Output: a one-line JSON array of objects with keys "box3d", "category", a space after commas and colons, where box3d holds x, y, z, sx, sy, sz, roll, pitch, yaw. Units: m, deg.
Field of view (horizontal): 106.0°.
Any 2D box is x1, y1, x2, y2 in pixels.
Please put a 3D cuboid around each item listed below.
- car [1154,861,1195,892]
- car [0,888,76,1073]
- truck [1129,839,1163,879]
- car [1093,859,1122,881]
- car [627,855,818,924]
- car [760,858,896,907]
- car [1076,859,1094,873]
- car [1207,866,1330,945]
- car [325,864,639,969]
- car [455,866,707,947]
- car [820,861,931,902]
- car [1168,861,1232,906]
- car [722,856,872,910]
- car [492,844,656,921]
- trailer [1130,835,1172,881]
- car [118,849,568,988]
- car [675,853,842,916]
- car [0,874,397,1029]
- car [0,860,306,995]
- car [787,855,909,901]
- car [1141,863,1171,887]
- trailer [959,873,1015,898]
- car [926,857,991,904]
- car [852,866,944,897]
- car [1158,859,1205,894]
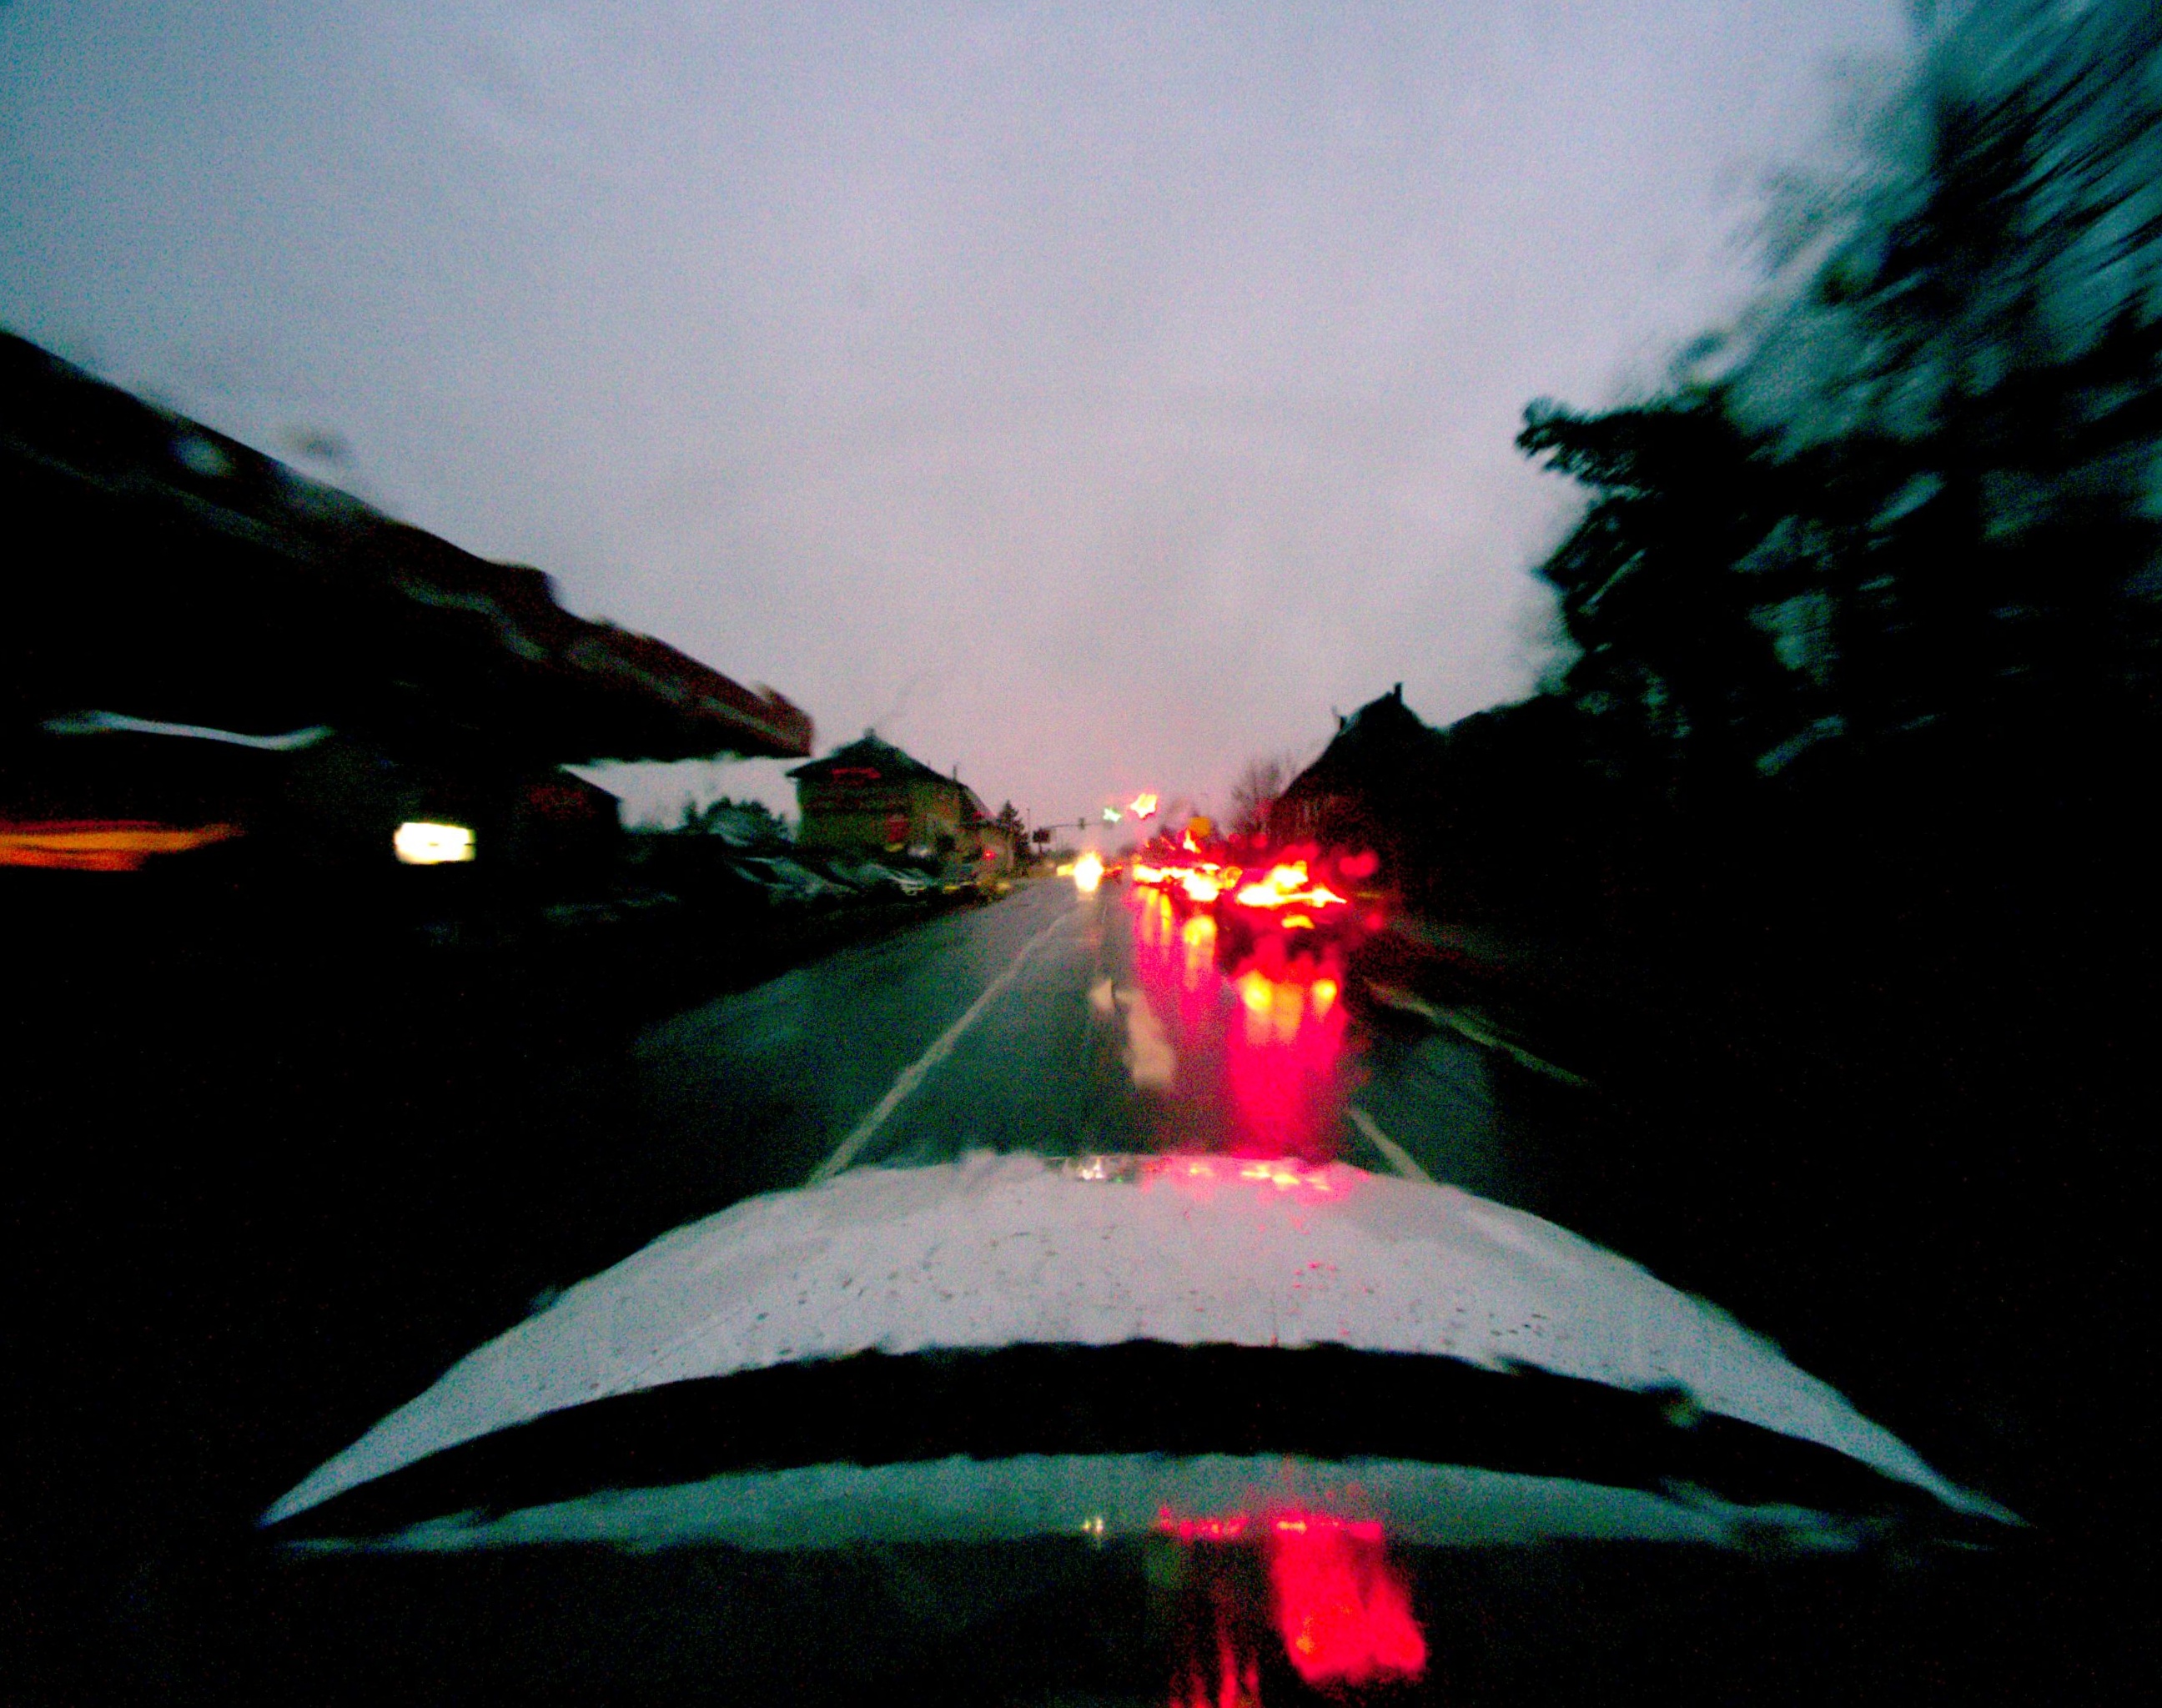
[{"box3d": [4.947, 1.148, 43.675, 1.829, 1.568, 4.505, 0, -1, 2], "category": "car"}, {"box3d": [-9.892, 0.963, 5.537, 3.844, 1.346, 1.840, -1, 0, 1], "category": "car"}, {"box3d": [5.392, 0.418, 68.428, 2.453, 3.230, 6.274, 0, -1, 1], "category": "truck"}, {"box3d": [2.052, 1.256, 64.227, 2.041, 1.573, 4.701, -2, -1, -1], "category": "car"}, {"box3d": [-9.691, 0.934, 22.256, 4.260, 1.662, 2.001, 2, 0, 2], "category": "car"}, {"box3d": [-9.289, 1.022, 30.140, 4.260, 1.662, 2.138, 2, 0, 2], "category": "car"}, {"box3d": [0.530, 1.502, 104.449, 1.984, 1.746, 4.006, -2, -1, 5], "category": "car"}, {"box3d": [3.692, 0.948, 16.831, 1.634, 1.366, 4.771, -1, -1, 2], "category": "car"}, {"box3d": [-9.792, 0.976, 13.550, 3.844, 1.559, 1.840, -1, 0, 1], "category": "car"}, {"box3d": [-9.801, 0.992, 16.198, 3.844, 1.441, 1.840, -1, 0, 1], "category": "car"}, {"box3d": [-8.919, 1.160, 35.653, 4.260, 1.627, 2.001, 2, 0, 2], "category": "car"}, {"box3d": [3.865, 0.934, 27.114, 1.647, 1.336, 4.274, -1, 0, 2], "category": "car"}, {"box3d": [-9.498, 0.945, 27.465, 4.260, 1.662, 2.001, 2, 0, 2], "category": "car"}, {"box3d": [-13.612, 0.732, 22.179, 1.879, 1.869, 4.001, -1, -1, 1], "category": "car"}, {"box3d": [5.236, 0.352, 62.583, 2.479, 3.241, 10.871, 0, -1, 1], "category": "trailer"}, {"box3d": [-9.705, 0.799, 11.009, 4.265, 1.656, 1.981, -1, 0, 1], "category": "car"}, {"box3d": [-9.789, 0.901, 24.969, 4.260, 1.764, 2.001, 2, 0, 2], "category": "car"}, {"box3d": [-9.719, 0.927, 8.345, 3.844, 1.346, 1.840, -1, 0, 1], "category": "car"}, {"box3d": [-14.188, 0.933, 11.788, 1.881, 1.656, 4.150, -1, 0, 2], "category": "car"}, {"box3d": [-9.352, 0.947, 32.969, 4.260, 1.662, 2.001, 2, 0, 2], "category": "car"}, {"box3d": [4.671, 1.287, 51.239, 1.656, 1.439, 4.383, 0, -1, 2], "category": "car"}, {"box3d": [-4.892, 1.632, 43.328, 1.986, 1.039, 6.106, -2, 0, 2], "category": "trailer"}, {"box3d": [-5.289, 1.102, 35.684, 1.963, 1.830, 4.514, -2, 0, 2], "category": "car"}, {"box3d": [-8.545, 1.290, 38.212, 3.878, 1.428, 1.720, 0, -1, 2], "category": "car"}, {"box3d": [4.318, 0.940, 35.651, 1.695, 1.471, 4.274, 0, 0, 2], "category": "car"}]
